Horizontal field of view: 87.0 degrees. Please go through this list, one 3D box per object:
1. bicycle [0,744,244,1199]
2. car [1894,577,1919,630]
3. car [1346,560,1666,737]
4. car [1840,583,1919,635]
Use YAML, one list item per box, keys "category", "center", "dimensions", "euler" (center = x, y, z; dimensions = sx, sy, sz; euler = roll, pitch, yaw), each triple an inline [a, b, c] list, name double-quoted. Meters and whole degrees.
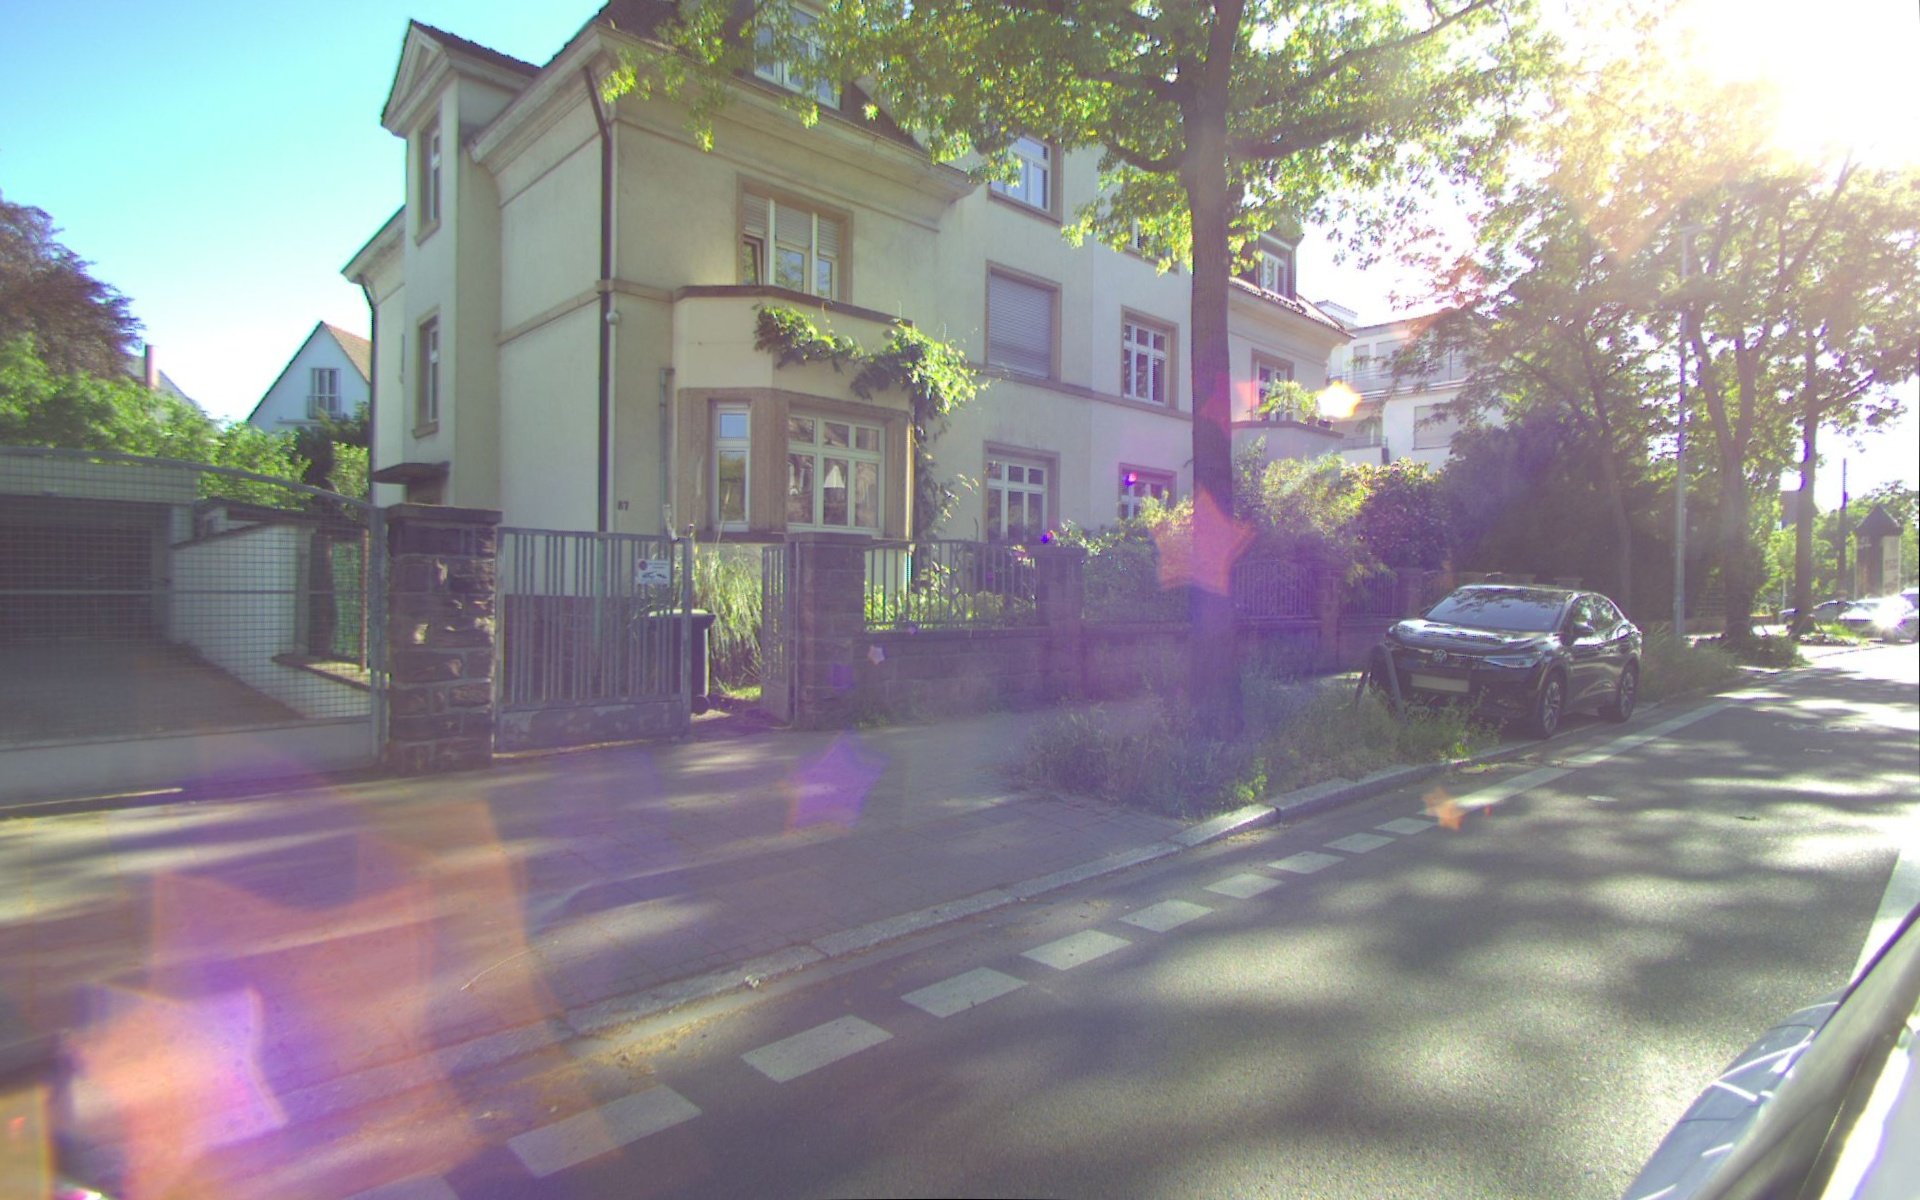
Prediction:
- category: "bicycle"
  center: [-1.866, 0.817, 0.918]
  dimensions: [1.939, 1.111, 0.625]
  euler: [0, 1, -41]
- category: "car"
  center: [36.755, 0.137, 37.882]
  dimensions: [4.663, 1.919, 2.128]
  euler: [0, 1, -41]
- category: "car"
  center: [6.693, 0.482, 12.200]
  dimensions: [4.304, 1.695, 1.997]
  euler: [1, 2, -42]
- category: "car"
  center: [31.421, 0.257, 34.209]
  dimensions: [3.927, 1.660, 1.824]
  euler: [0, 1, -38]
